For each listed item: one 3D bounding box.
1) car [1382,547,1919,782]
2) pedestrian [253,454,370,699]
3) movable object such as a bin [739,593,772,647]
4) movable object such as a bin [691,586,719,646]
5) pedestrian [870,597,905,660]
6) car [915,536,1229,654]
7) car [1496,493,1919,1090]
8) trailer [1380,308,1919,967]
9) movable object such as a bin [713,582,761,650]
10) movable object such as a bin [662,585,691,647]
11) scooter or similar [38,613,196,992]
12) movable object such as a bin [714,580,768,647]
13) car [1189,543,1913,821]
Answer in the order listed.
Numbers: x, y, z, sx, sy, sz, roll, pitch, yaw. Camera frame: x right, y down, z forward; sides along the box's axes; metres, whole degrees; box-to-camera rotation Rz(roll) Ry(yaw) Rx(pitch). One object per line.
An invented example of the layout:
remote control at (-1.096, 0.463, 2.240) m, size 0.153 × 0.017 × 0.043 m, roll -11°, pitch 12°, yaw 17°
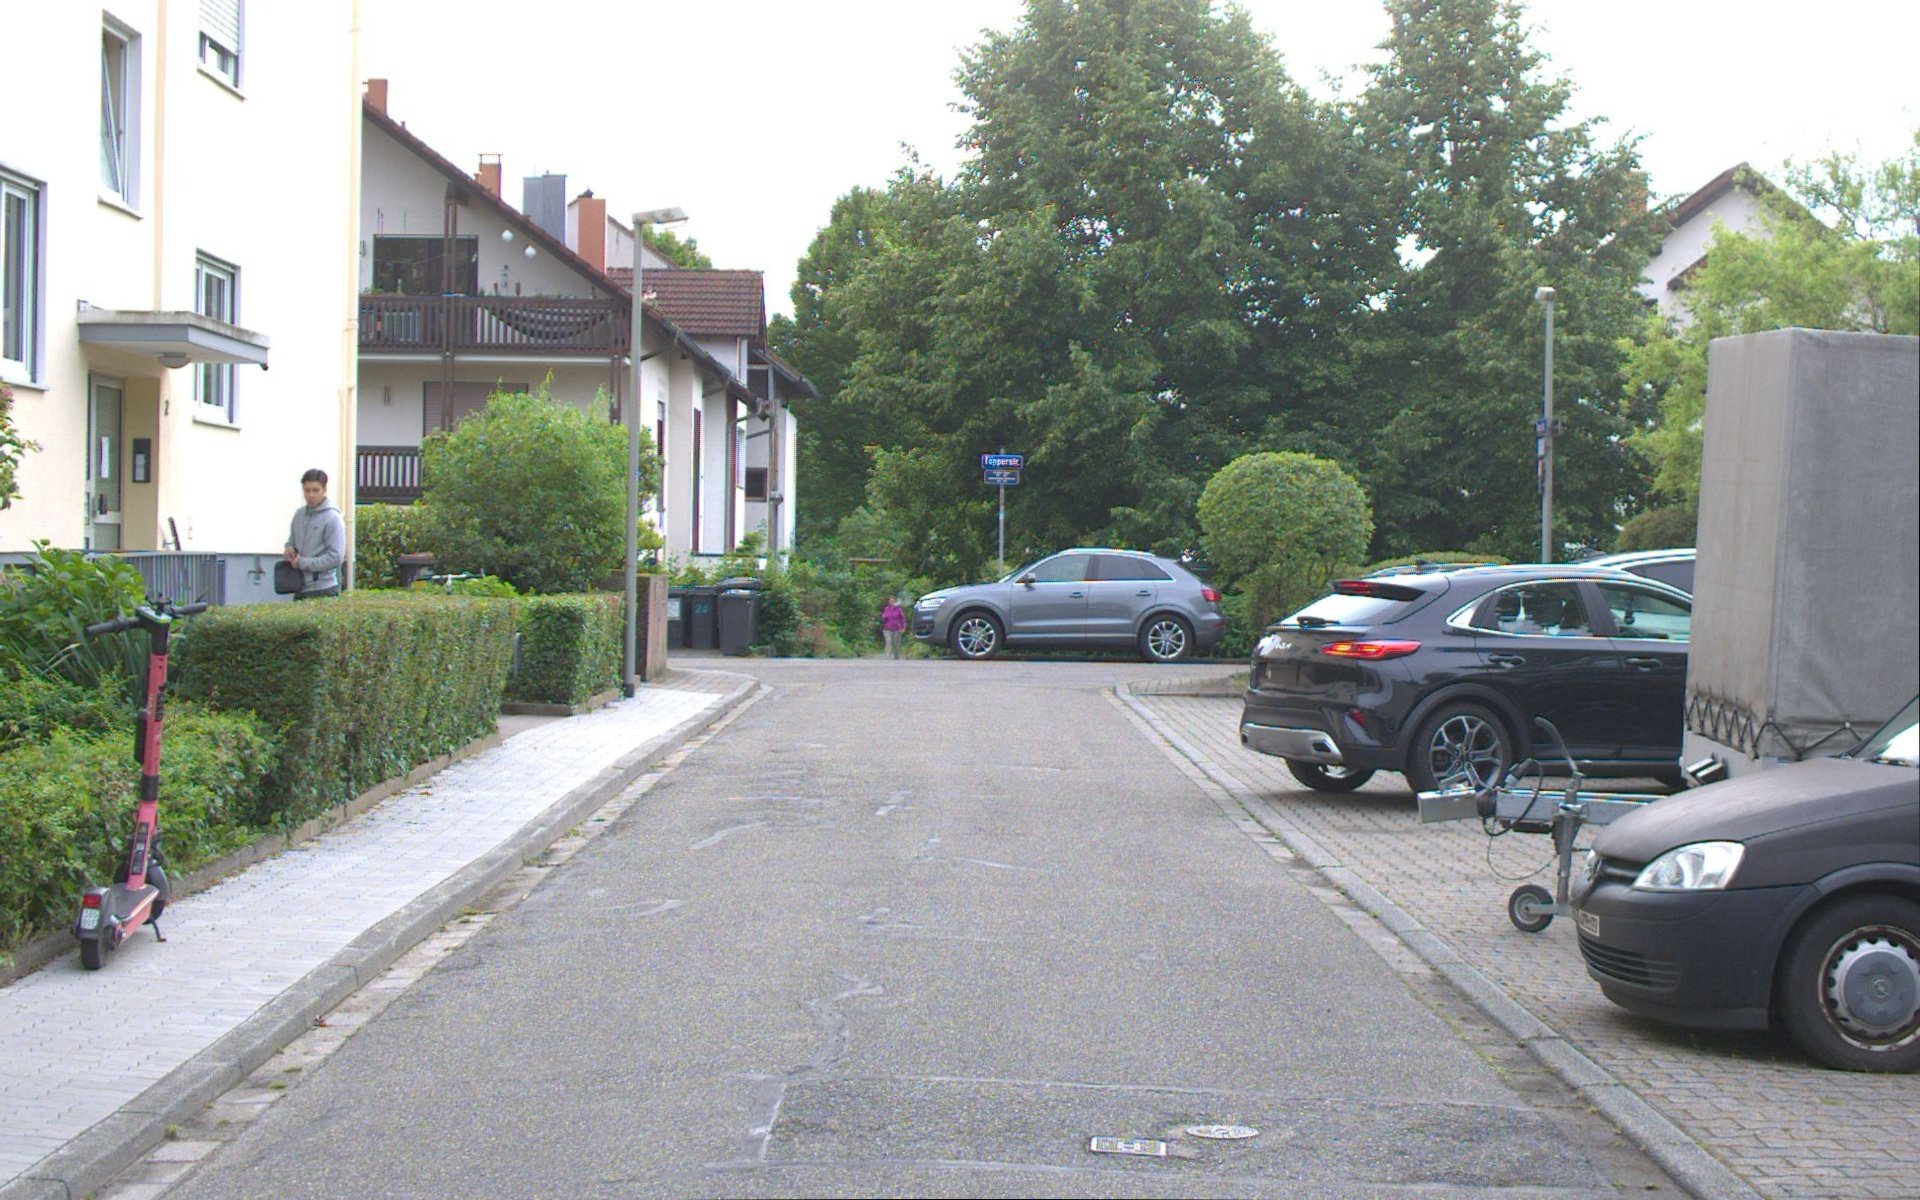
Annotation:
car at (5.432, 0.437, 24.837) m, size 4.537 × 1.583 × 1.988 m, roll 1°, pitch 1°, yaw 2°
pedestrian at (-4.720, -0.174, 25.054) m, size 0.679 × 1.743 × 0.756 m, roll 2°, pitch 1°, yaw -2°
movable object such as a bin at (-3.075, 0.300, 51.685) m, size 0.459 × 0.795 × 0.379 m, roll 2°, pitch 1°, yaw -3°
movable object such as a bin at (-3.808, 0.235, 51.306) m, size 0.386 × 0.886 × 0.379 m, roll 2°, pitch 1°, yaw -3°
pedestrian at (-1.751, 0.678, 82.973) m, size 0.815 × 1.512 × 0.438 m, roll 1°, pitch 0°, yaw -2°
car at (1.514, -0.053, 47.589) m, size 4.237 × 1.526 × 1.747 m, roll 1°, pitch -1°, yaw 0°
car at (4.131, 0.521, 11.478) m, size 4.310 × 1.795 × 2.000 m, roll -1°, pitch 1°, yaw -1°
trailer at (4.193, 0.158, 14.288) m, size 4.609 × 2.516 × 1.943 m, roll 1°, pitch 1°, yaw 0°
movable object such as a bin at (-3.219, 0.222, 49.670) m, size 0.638 × 0.950 × 0.723 m, roll 2°, pitch 1°, yaw -1°
movable object such as a bin at (-4.230, 0.236, 51.293) m, size 0.386 × 0.898 × 0.379 m, roll 2°, pitch 1°, yaw -3°
scooter or similar at (-2.889, 0.666, 11.831) m, size 0.272 × 1.206 × 1.164 m, roll 1°, pitch 1°, yaw -1°
movable object such as a bin at (-3.212, 0.198, 50.450) m, size 0.733 × 0.950 × 0.584 m, roll 2°, pitch 1°, yaw 0°
car at (3.673, 0.456, 21.616) m, size 3.986 × 1.546 × 2.001 m, roll -1°, pitch 1°, yaw -16°
